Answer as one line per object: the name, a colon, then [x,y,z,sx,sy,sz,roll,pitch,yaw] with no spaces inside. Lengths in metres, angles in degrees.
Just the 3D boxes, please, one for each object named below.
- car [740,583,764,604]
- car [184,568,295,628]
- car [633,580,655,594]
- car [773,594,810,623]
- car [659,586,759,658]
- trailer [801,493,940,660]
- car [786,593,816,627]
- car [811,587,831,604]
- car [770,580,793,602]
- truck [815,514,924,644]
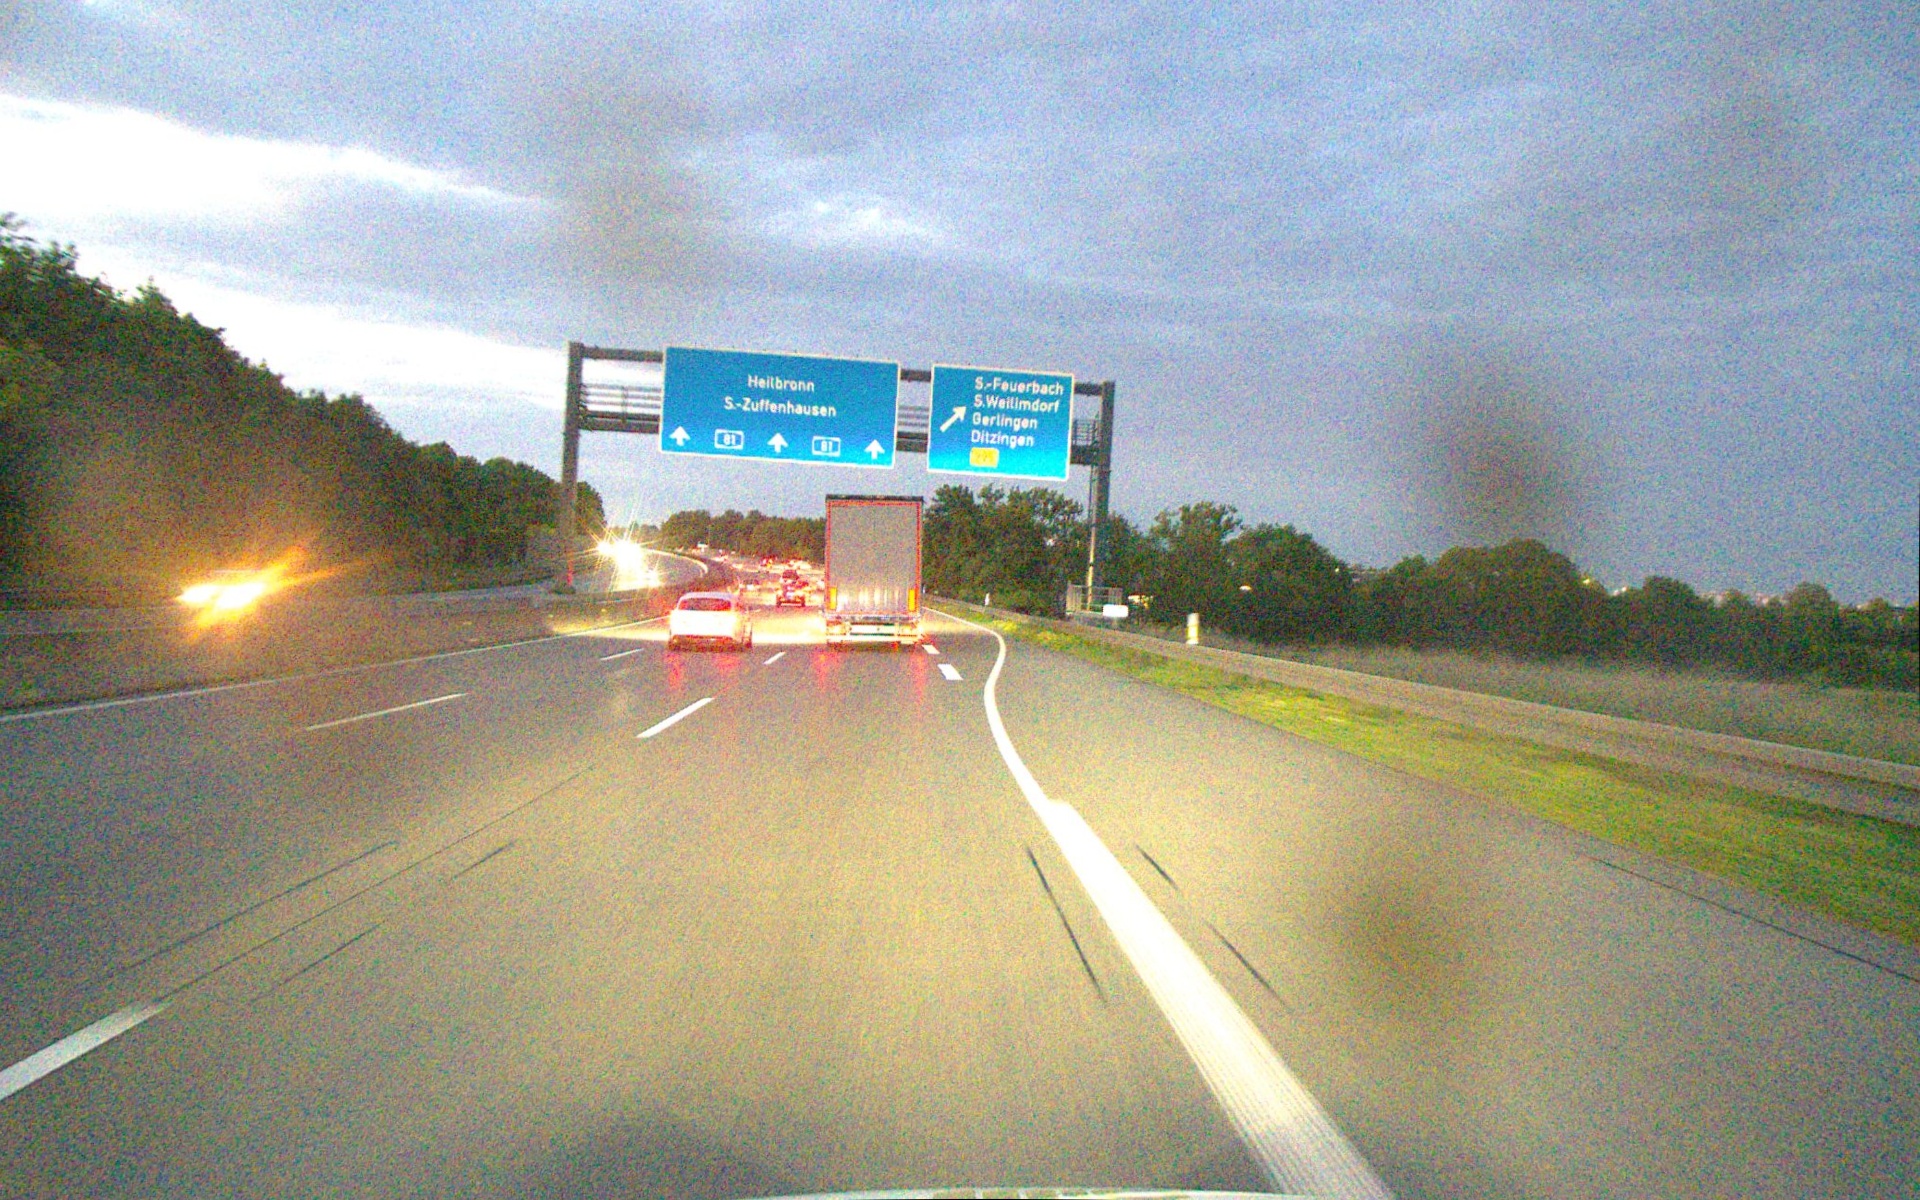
car: [-17.919,-0.538,142.780,1.727,1.602,4.572,2,-1,-4]
car: [-24.993,-0.023,57.561,1.954,1.926,4.675,2,-1,-4]
car: [-36.553,-1.504,191.530,1.954,1.444,4.148,2,0,-4]
car: [-10.779,0.560,106.033,2.024,1.715,4.573,2,-1,-3]
car: [-6.292,0.583,41.946,1.868,1.642,4.801,2,-1,-2]
trailer: [-2.678,-0.655,49.404,3.479,4.188,15.053,1,0,-3]
car: [-11.900,0.748,123.728,1.956,2.422,3.993,2,-1,-8]
car: [-14.496,-0.439,172.995,1.954,1.561,3.996,2,-1,-4]
car: [-18.211,-0.895,169.078,1.954,2.049,3.998,2,-1,-2]
truck: [-3.106,-0.705,56.724,3.480,4.162,6.147,1,0,-3]
